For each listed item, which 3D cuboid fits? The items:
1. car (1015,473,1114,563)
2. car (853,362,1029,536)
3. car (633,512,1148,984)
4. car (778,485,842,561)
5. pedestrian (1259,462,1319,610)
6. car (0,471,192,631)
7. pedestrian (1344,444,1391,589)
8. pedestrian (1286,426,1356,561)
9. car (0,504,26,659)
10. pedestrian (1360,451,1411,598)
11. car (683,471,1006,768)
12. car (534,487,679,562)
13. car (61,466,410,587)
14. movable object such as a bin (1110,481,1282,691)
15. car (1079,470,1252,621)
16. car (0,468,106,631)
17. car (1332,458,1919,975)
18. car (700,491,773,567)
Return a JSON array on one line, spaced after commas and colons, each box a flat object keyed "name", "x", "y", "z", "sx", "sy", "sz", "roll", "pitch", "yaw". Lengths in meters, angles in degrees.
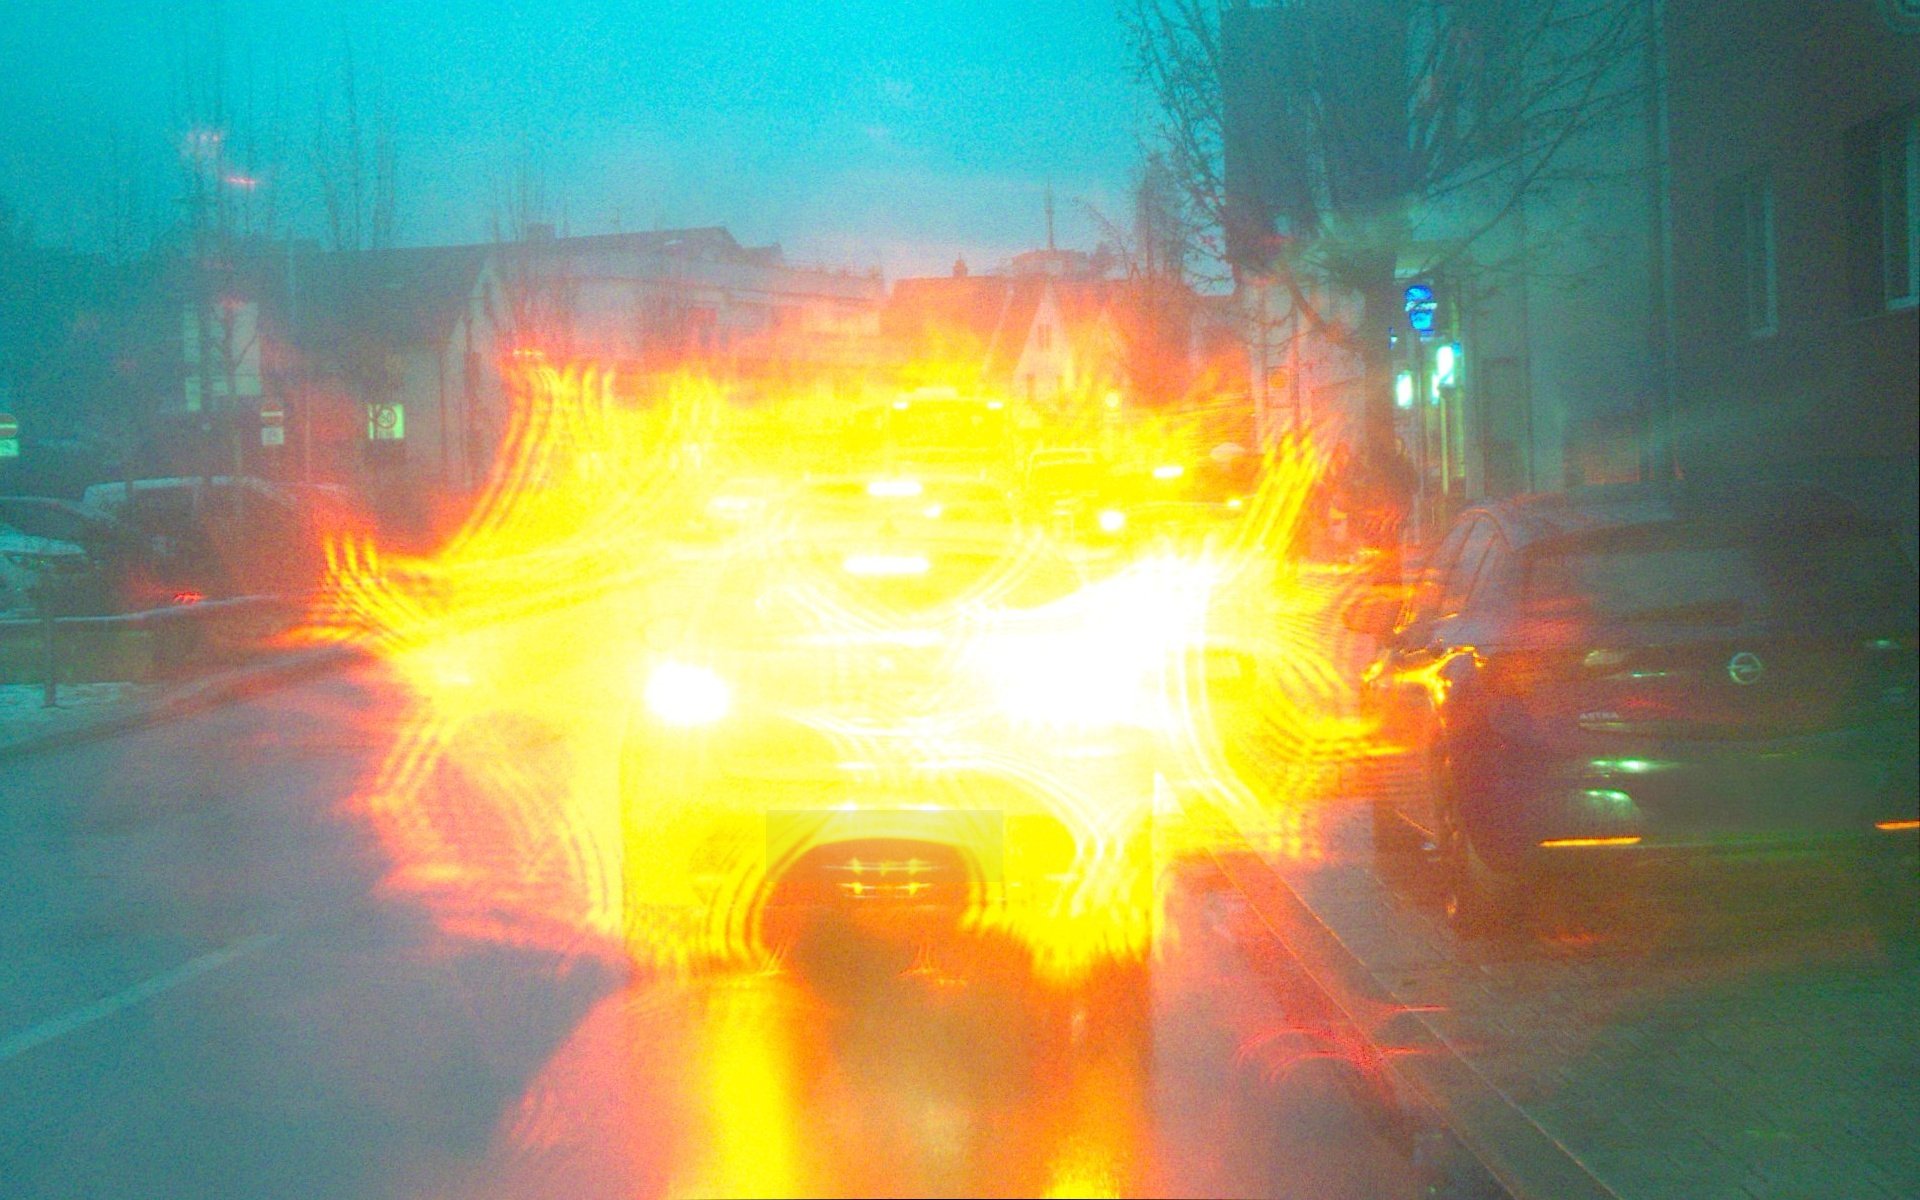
[{"name": "car", "x": 2.215, "y": -1.761, "z": 73.718, "sx": 1.997, "sy": 1.858, "sz": 4.083, "roll": -1, "pitch": 1, "yaw": 0}, {"name": "car", "x": -0.420, "y": -2.812, "z": 65.863, "sx": 3.190, "sy": 3.021, "sz": 6.305, "roll": 0, "pitch": 0, "yaw": -1}, {"name": "car", "x": -0.215, "y": 0.413, "z": 11.962, "sx": 1.563, "sy": 1.407, "sz": 3.018, "roll": 0, "pitch": 2, "yaw": 0}, {"name": "car", "x": -4.549, "y": -2.316, "z": 104.646, "sx": 1.919, "sy": 2.208, "sz": 3.975, "roll": 0, "pitch": 0, "yaw": -2}, {"name": "pedestrian", "x": 3.865, "y": -0.757, "z": 40.422, "sx": 0.573, "sy": 1.694, "sz": 0.653, "roll": -3, "pitch": 1, "yaw": 2}, {"name": "car", "x": -10.193, "y": -0.500, "z": 35.536, "sx": 4.094, "sy": 1.603, "sz": 1.587, "roll": 0, "pitch": 1, "yaw": 4}, {"name": "pedestrian", "x": 5.113, "y": -1.053, "z": 43.095, "sx": 0.529, "sy": 1.794, "sz": 0.864, "roll": 0, "pitch": 2, "yaw": 10}, {"name": "pedestrian", "x": 4.734, "y": -1.404, "z": 45.003, "sx": 0.712, "sy": 1.709, "sz": 1.034, "roll": -2, "pitch": 2, "yaw": 14}, {"name": "car", "x": -10.192, "y": -0.111, "z": 30.298, "sx": 3.444, "sy": 1.367, "sz": 1.601, "roll": -2, "pitch": 2, "yaw": -1}, {"name": "pedestrian", "x": 4.837, "y": -0.848, "z": 39.092, "sx": 0.529, "sy": 1.647, "sz": 0.953, "roll": 0, "pitch": 0, "yaw": 10}, {"name": "car", "x": -0.639, "y": 0.041, "z": 20.611, "sx": 1.766, "sy": 1.622, "sz": 3.586, "roll": 0, "pitch": 2, "yaw": 0}, {"name": "car", "x": -10.639, "y": -2.244, "z": 103.271, "sx": 4.383, "sy": 2.159, "sz": 1.995, "roll": 0, "pitch": -1, "yaw": 44}, {"name": "car", "x": -10.363, "y": -1.056, "z": 49.442, "sx": 4.625, "sy": 1.662, "sz": 2.000, "roll": -1, "pitch": 1, "yaw": -2}, {"name": "movable object such as a bin", "x": 1.734, "y": -0.123, "z": 25.505, "sx": 1.129, "sy": 1.415, "sz": 1.417, "roll": -4, "pitch": 3, "yaw": 2}, {"name": "car", "x": 2.446, "y": -0.692, "z": 41.860, "sx": 1.735, "sy": 1.686, "sz": 4.387, "roll": -2, "pitch": 2, "yaw": -1}, {"name": "car", "x": -10.390, "y": -0.478, "z": 33.170, "sx": 3.794, "sy": 1.517, "sz": 1.714, "roll": 0, "pitch": 1, "yaw": 7}, {"name": "car", "x": 2.423, "y": 0.271, "z": 12.545, "sx": 1.728, "sy": 1.459, "sz": 4.199, "roll": -4, "pitch": 2, "yaw": 2}, {"name": "car", "x": -6.269, "y": -1.973, "z": 96.632, "sx": 1.919, "sy": 2.020, "sz": 3.975, "roll": 0, "pitch": 0, "yaw": -2}]
